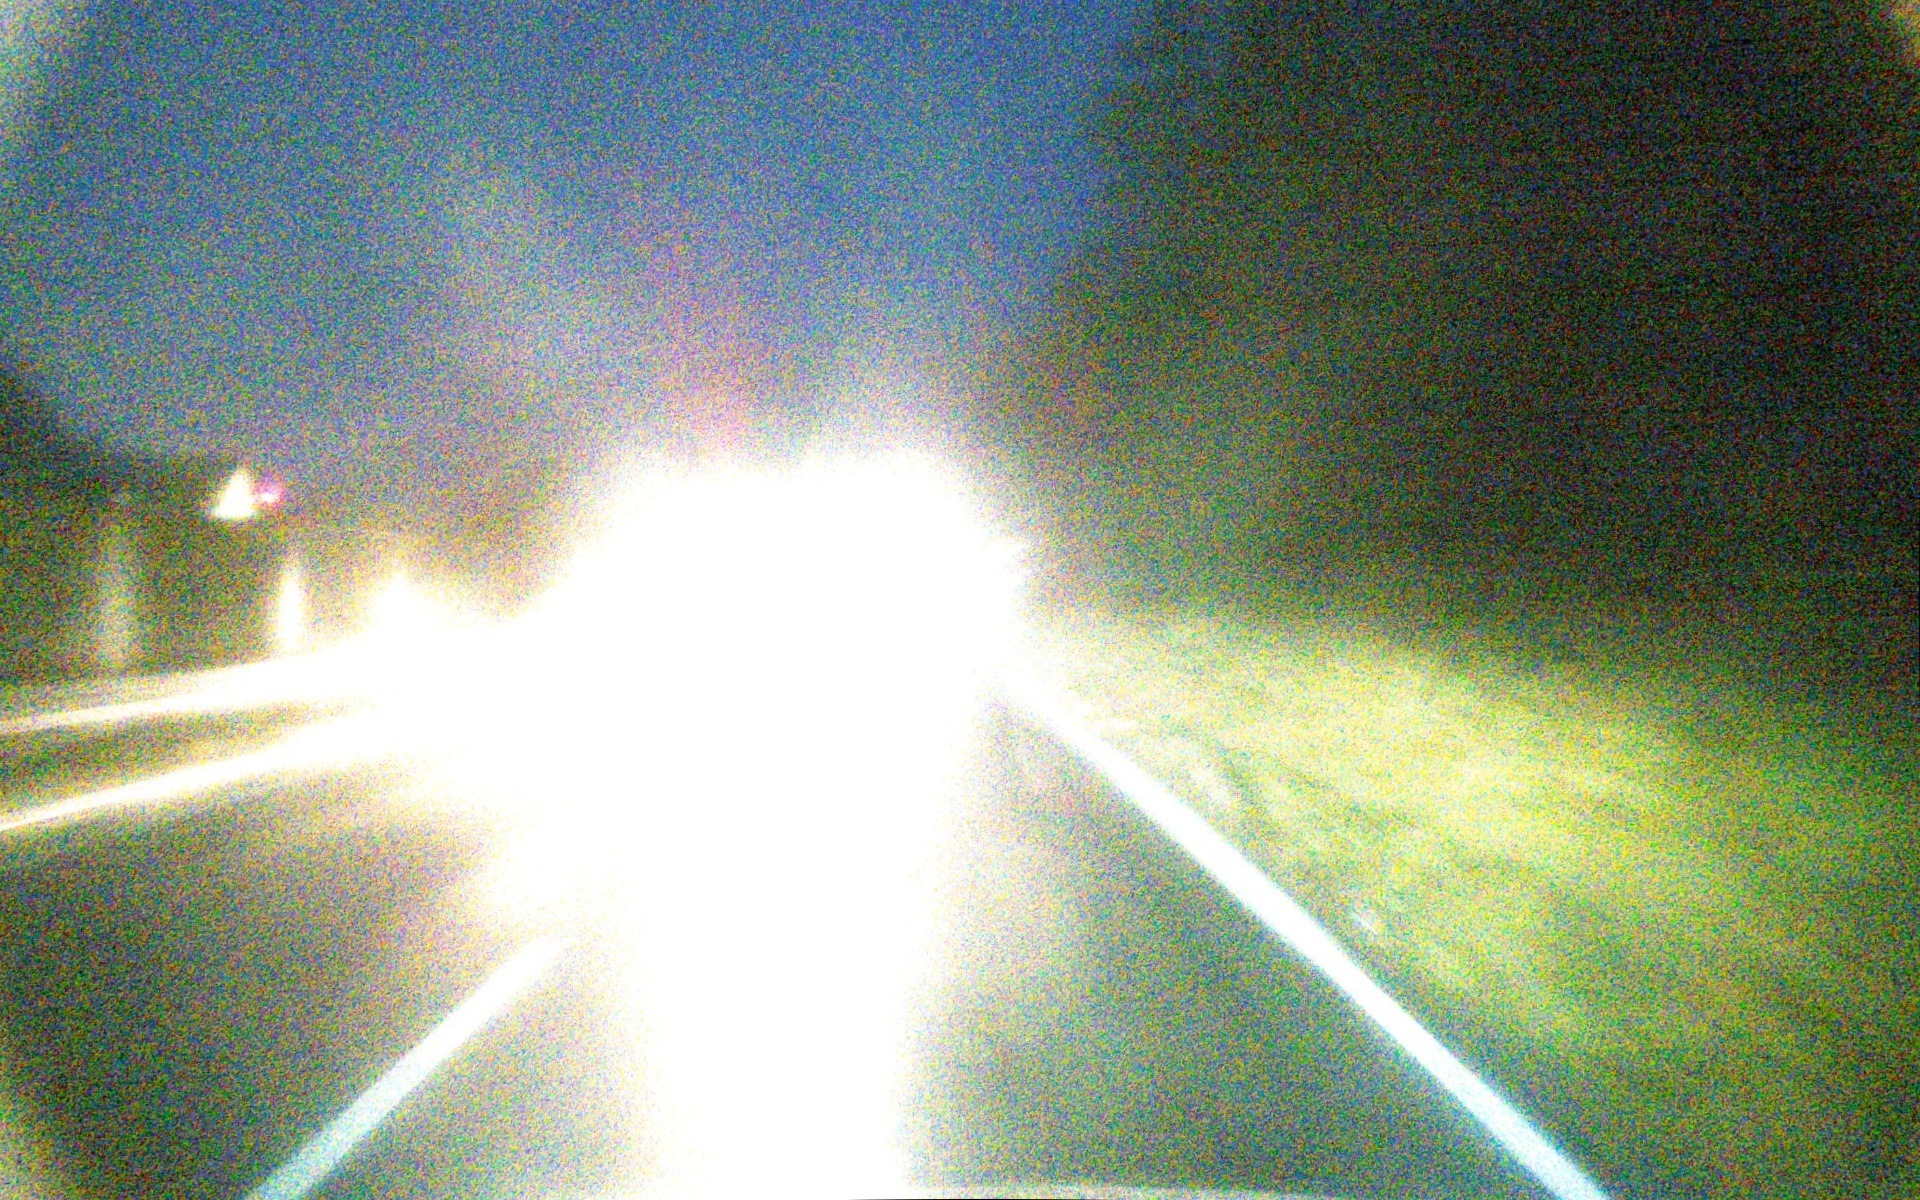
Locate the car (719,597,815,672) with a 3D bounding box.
[{"bbox_3d":[-4.560,0.776,39.626,1.887,1.602,4.346,1,1,-2],"label":"car"}]

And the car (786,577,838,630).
[{"bbox_3d":[-6.025,0.116,67.577,1.954,2.049,3.998,1,1,-3],"label":"car"}]
